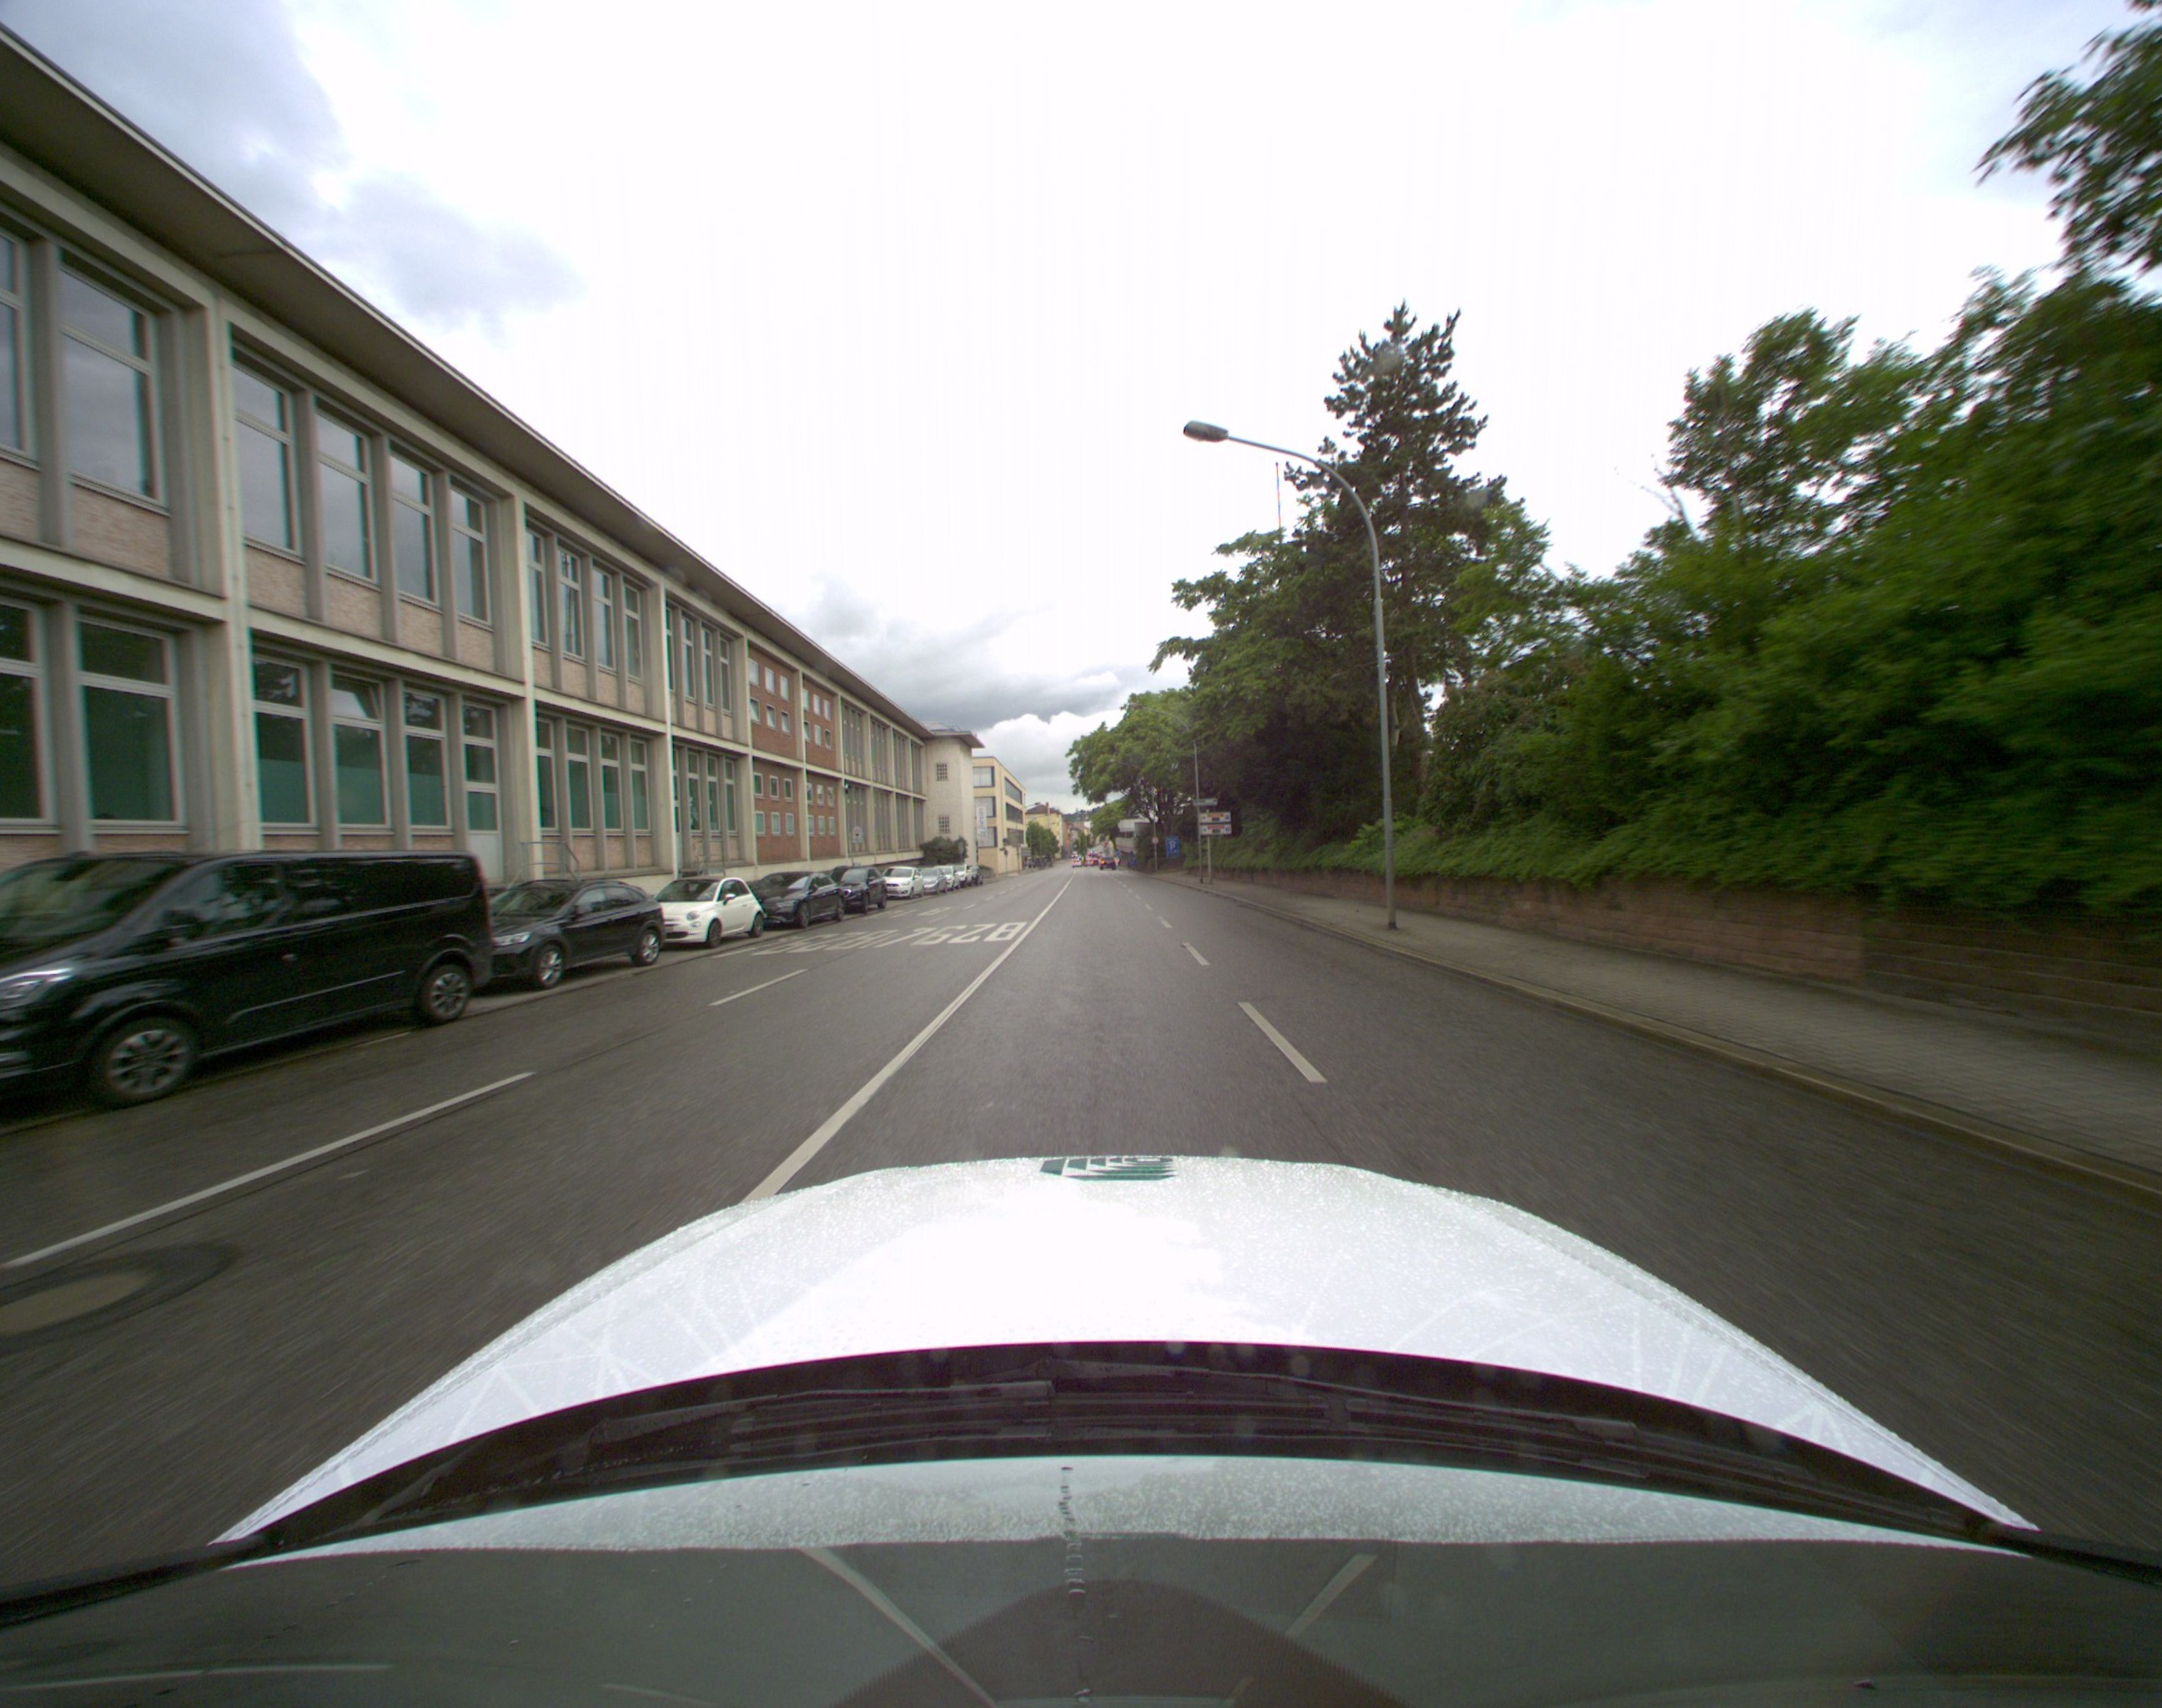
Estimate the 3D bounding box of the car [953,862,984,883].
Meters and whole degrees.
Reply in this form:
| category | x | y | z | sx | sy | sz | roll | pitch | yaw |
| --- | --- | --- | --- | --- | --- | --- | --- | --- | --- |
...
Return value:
| category | x | y | z | sx | sy | sz | roll | pitch | yaw |
| --- | --- | --- | --- | --- | --- | --- | --- | --- | --- |
| car | -8.221 | 1.323 | 59.748 | 1.743 | 1.480 | 4.179 | 0 | 0 | -1 |

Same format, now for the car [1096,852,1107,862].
| category | x | y | z | sx | sy | sz | roll | pitch | yaw |
| --- | --- | --- | --- | --- | --- | --- | --- | --- | --- |
| car | 4.182 | 0.639 | 165.500 | 1.986 | 1.837 | 4.001 | -3 | 1 | 1 |

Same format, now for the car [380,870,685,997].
| category | x | y | z | sx | sy | sz | roll | pitch | yaw |
| --- | --- | --- | --- | --- | --- | --- | --- | --- | --- |
| car | -8.451 | 1.115 | 13.140 | 1.854 | 1.552 | 4.314 | -2 | 0 | 2 |

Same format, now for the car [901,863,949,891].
| category | x | y | z | sx | sy | sz | roll | pitch | yaw |
| --- | --- | --- | --- | --- | --- | --- | --- | --- | --- |
| car | -8.330 | 1.216 | 43.785 | 1.743 | 1.435 | 4.484 | 0 | -1 | -1 |

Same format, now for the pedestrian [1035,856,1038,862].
| category | x | y | z | sx | sy | sz | roll | pitch | yaw |
| --- | --- | --- | --- | --- | --- | --- | --- | --- | --- |
| pedestrian | -9.740 | 1.038 | 177.663 | 0.451 | 1.278 | 0.455 | -2 | 0 | 11 |

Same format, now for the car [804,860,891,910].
| category | x | y | z | sx | sy | sz | roll | pitch | yaw |
| --- | --- | --- | --- | --- | --- | --- | --- | --- | --- |
| car | -8.263 | 1.071 | 29.277 | 1.836 | 1.653 | 4.514 | 0 | -1 | 0 |

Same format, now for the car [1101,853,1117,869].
| category | x | y | z | sx | sy | sz | roll | pitch | yaw |
| --- | --- | --- | --- | --- | --- | --- | --- | --- | --- |
| car | 3.749 | 0.963 | 110.221 | 2.084 | 1.910 | 4.101 | -3 | 1 | 1 |

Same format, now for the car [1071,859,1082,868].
| category | x | y | z | sx | sy | sz | roll | pitch | yaw |
| --- | --- | --- | --- | --- | --- | --- | --- | --- | --- |
| car | -0.883 | 1.801 | 156.473 | 1.990 | 1.680 | 3.993 | -1 | 0 | -5 |

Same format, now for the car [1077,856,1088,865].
| category | x | y | z | sx | sy | sz | roll | pitch | yaw |
| --- | --- | --- | --- | --- | --- | --- | --- | --- | --- |
| car | 0.320 | 1.363 | 164.354 | 1.990 | 1.680 | 3.993 | -1 | 0 | -5 |

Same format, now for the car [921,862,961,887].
| category | x | y | z | sx | sy | sz | roll | pitch | yaw |
| --- | --- | --- | --- | --- | --- | --- | --- | --- | --- |
| car | -8.401 | 1.216 | 49.249 | 1.743 | 1.454 | 4.179 | 0 | 0 | -1 |

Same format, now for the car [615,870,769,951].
| category | x | y | z | sx | sy | sz | roll | pitch | yaw |
| --- | --- | --- | --- | --- | --- | --- | --- | --- | --- |
| car | -8.419 | 1.162 | 17.979 | 1.560 | 1.484 | 3.554 | -2 | 0 | 2 |

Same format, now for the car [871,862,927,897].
| category | x | y | z | sx | sy | sz | roll | pitch | yaw |
| --- | --- | --- | --- | --- | --- | --- | --- | --- | --- |
| car | -8.559 | 1.166 | 38.561 | 1.673 | 1.522 | 3.921 | -1 | 0 | 1 |

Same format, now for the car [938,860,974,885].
| category | x | y | z | sx | sy | sz | roll | pitch | yaw |
| --- | --- | --- | --- | --- | --- | --- | --- | --- | --- |
| car | -8.358 | 1.193 | 54.564 | 1.742 | 1.598 | 4.180 | 0 | 0 | 0 |

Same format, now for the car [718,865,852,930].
| category | x | y | z | sx | sy | sz | roll | pitch | yaw |
| --- | --- | --- | --- | --- | --- | --- | --- | --- | --- |
| car | -8.129 | 1.128 | 22.917 | 1.808 | 1.484 | 4.911 | -1 | 0 | 2 |

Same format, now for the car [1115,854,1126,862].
| category | x | y | z | sx | sy | sz | roll | pitch | yaw |
| --- | --- | --- | --- | --- | --- | --- | --- | --- | --- |
| car | 10.021 | 0.996 | 206.047 | 1.979 | 1.680 | 4.015 | -2 | 0 | 14 |

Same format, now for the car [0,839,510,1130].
| category | x | y | z | sx | sy | sz | roll | pitch | yaw |
| --- | --- | --- | --- | --- | --- | --- | --- | --- | --- |
| car | -8.213 | 0.886 | 7.786 | 1.943 | 1.944 | 4.995 | -1 | 0 | 0 |
